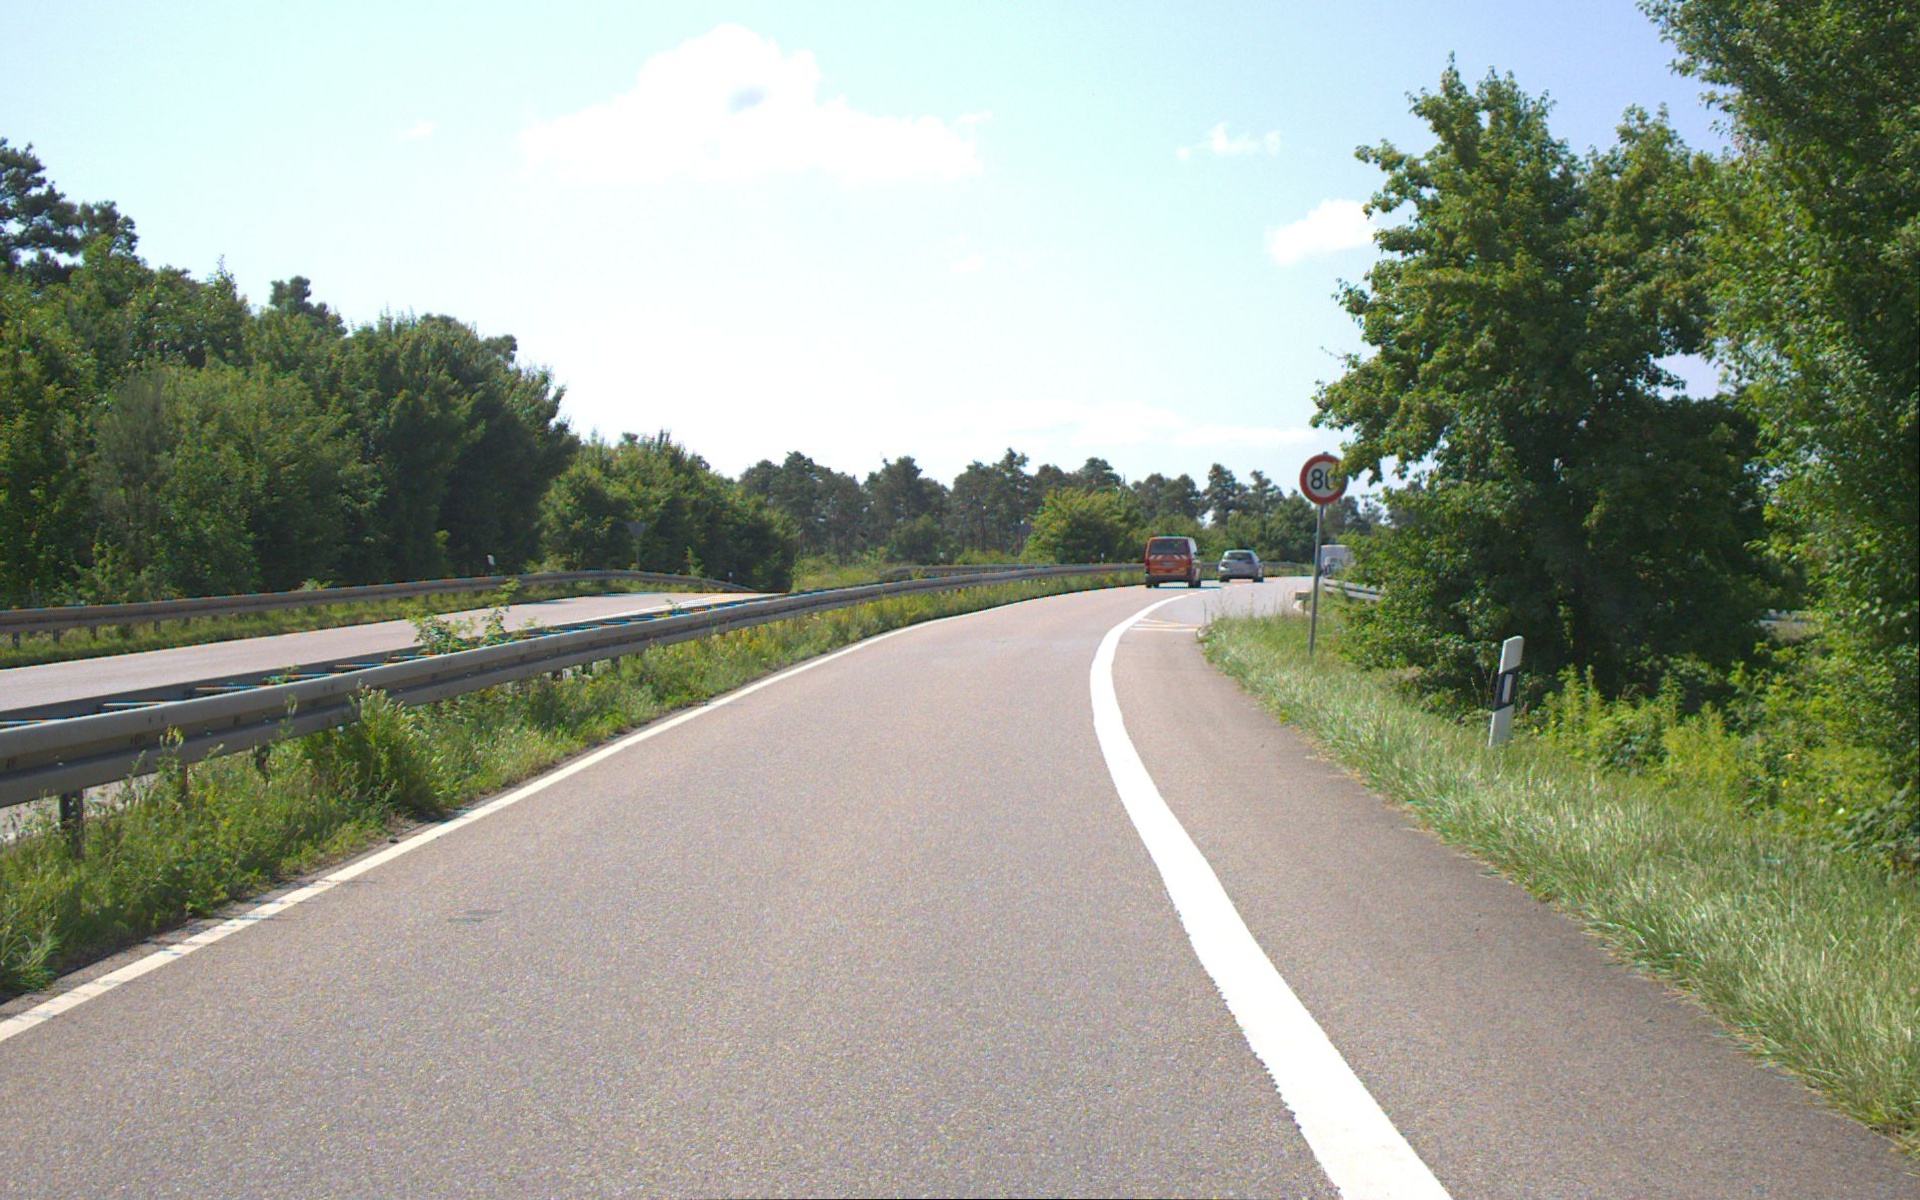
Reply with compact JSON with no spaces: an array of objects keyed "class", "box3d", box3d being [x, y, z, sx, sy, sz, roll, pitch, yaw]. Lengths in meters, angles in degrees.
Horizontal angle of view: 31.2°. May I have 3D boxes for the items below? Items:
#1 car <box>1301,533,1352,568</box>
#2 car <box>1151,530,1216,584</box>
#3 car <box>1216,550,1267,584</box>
[{"class":"car","box3d":[22.011,-2.951,206.200,2.186,1.948,5.800,1,0,14]},{"class":"car","box3d":[8.625,-1.626,132.294,2.078,1.986,5.110,1,0,8]},{"class":"car","box3d":[12.785,-1.496,155.755,2.008,1.489,4.237,1,0,8]}]
